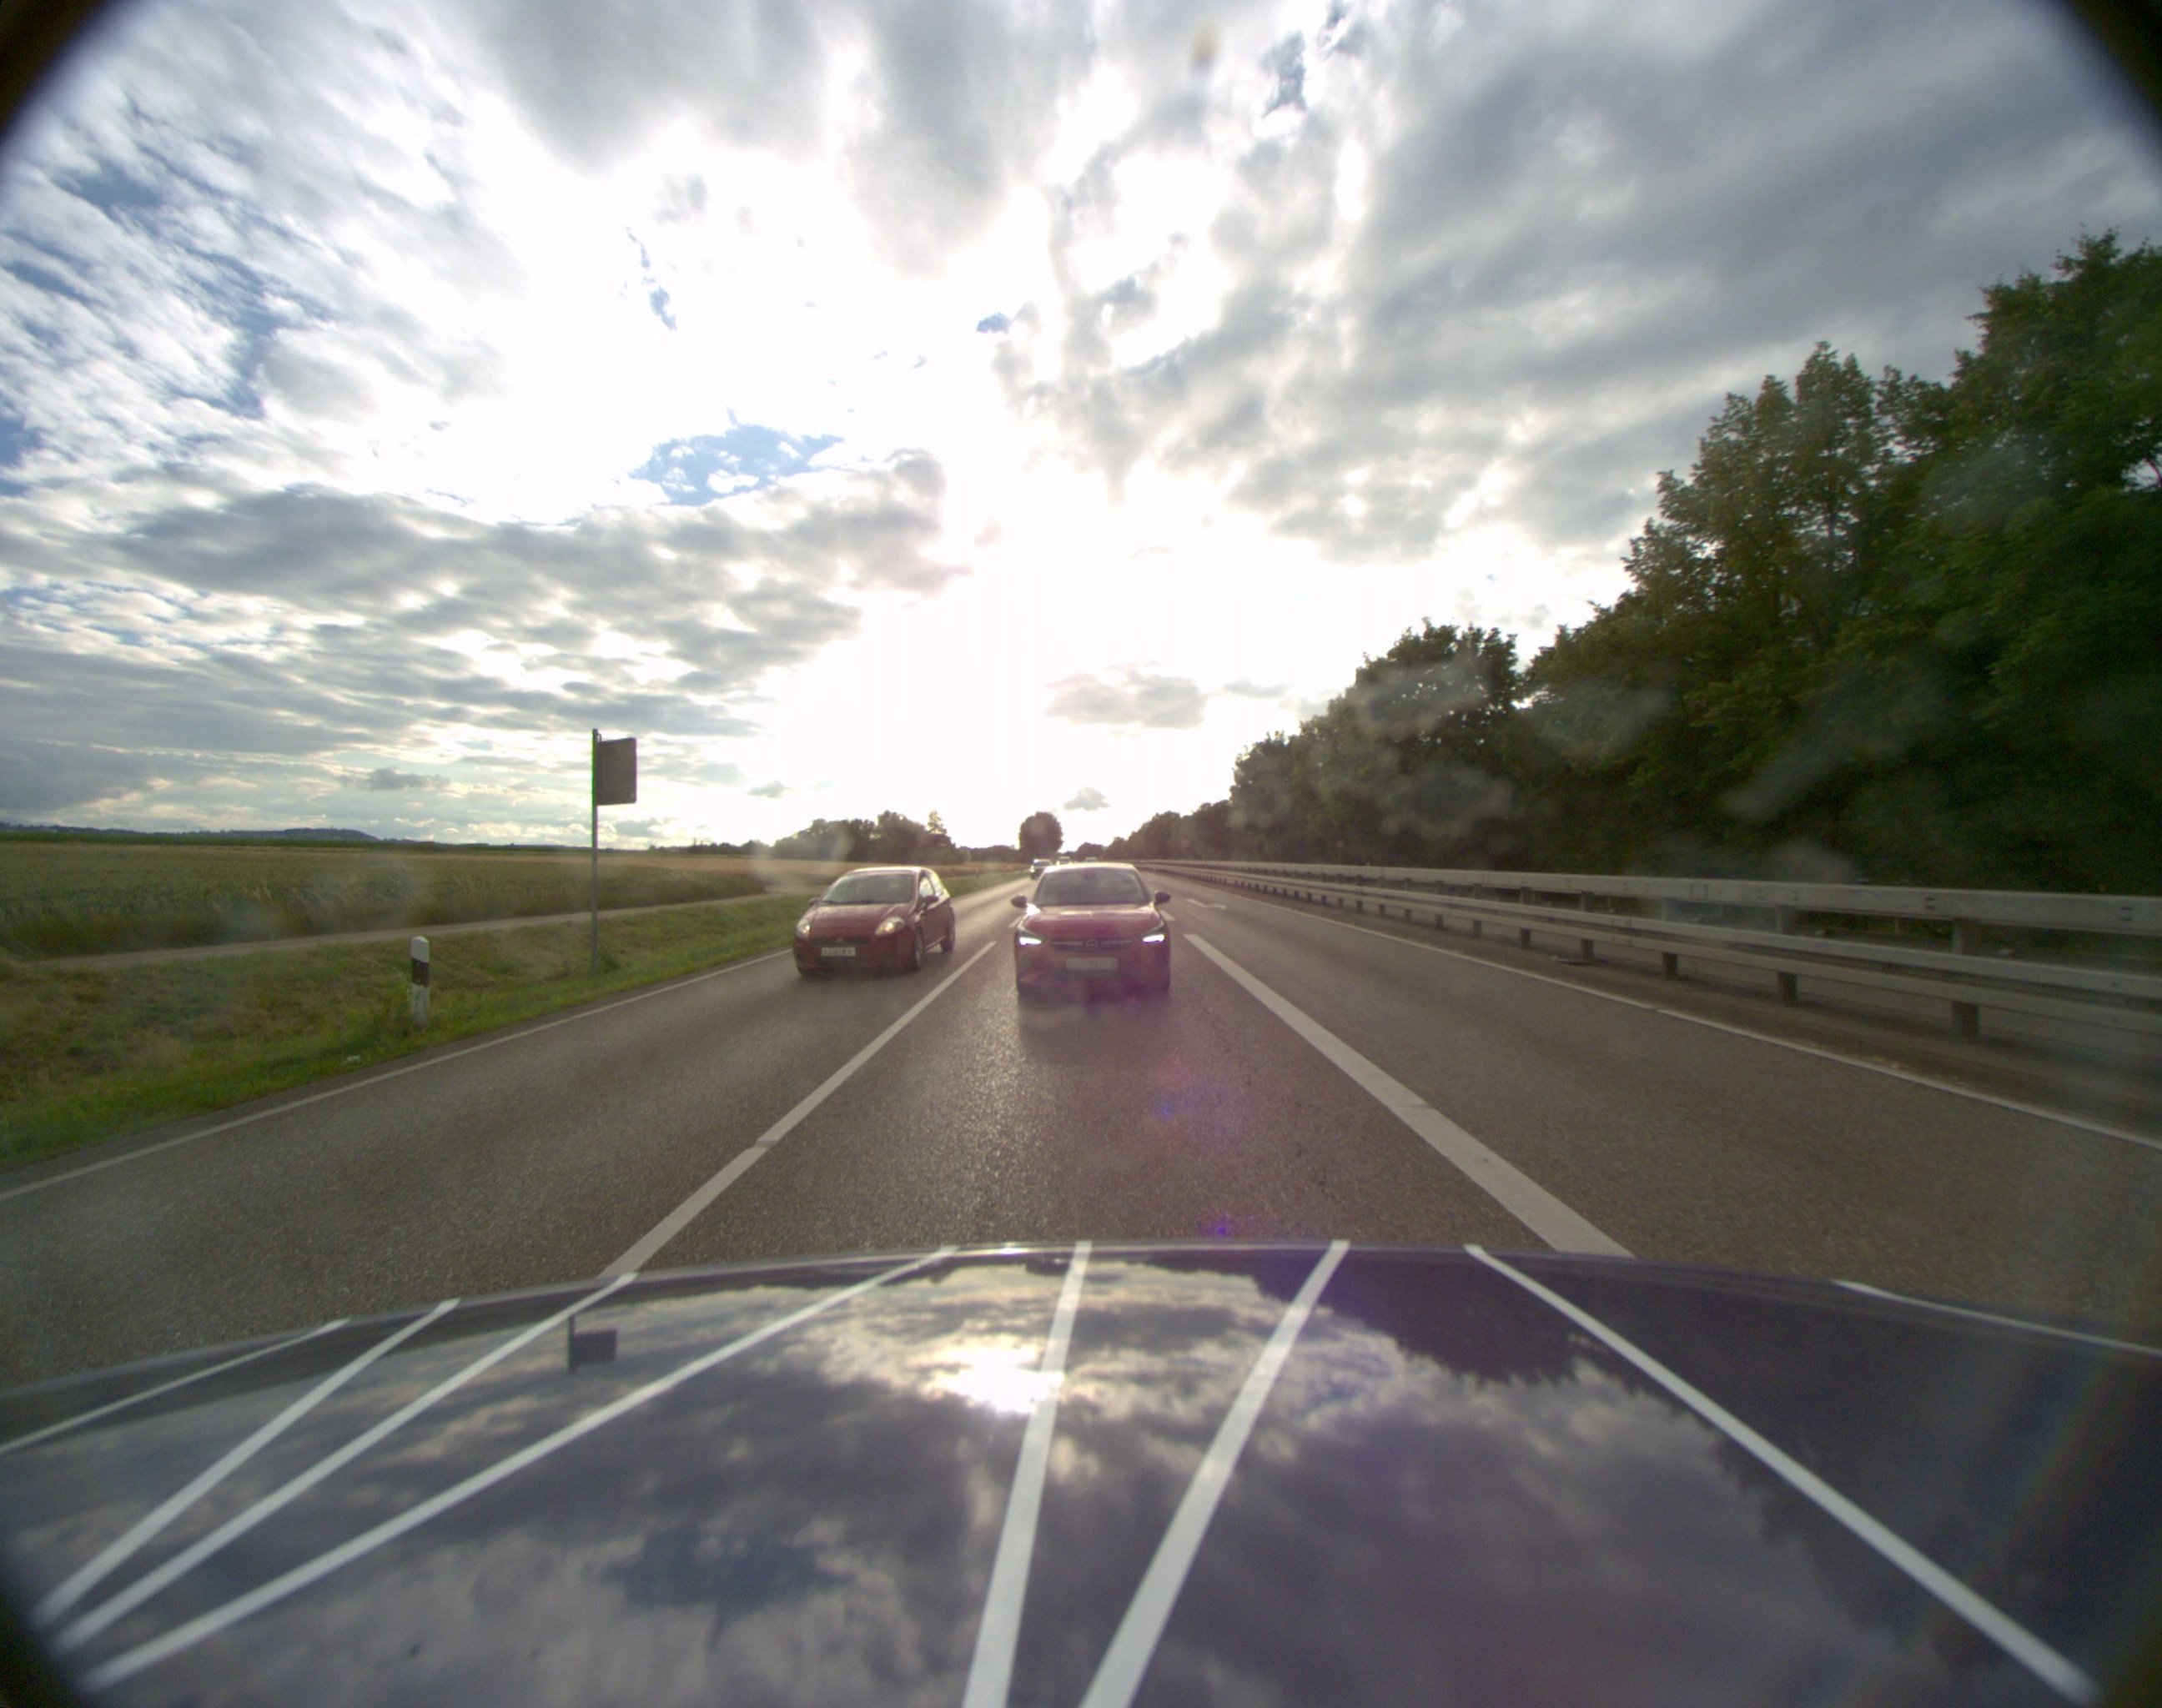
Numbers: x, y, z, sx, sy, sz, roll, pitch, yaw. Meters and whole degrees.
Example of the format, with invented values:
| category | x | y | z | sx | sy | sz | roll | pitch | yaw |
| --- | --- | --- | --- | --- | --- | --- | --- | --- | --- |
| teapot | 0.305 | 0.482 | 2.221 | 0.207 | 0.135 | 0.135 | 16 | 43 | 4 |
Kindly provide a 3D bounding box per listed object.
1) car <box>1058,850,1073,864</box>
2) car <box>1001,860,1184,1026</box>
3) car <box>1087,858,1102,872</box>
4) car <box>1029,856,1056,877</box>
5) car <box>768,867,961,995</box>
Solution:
| category | x | y | z | sx | sy | sz | roll | pitch | yaw |
| --- | --- | --- | --- | --- | --- | --- | --- | --- | --- |
| car | -1.982 | 0.335 | 99.129 | 1.671 | 1.730 | 4.032 | -2 | 1 | 1 |
| car | 0.139 | 0.878 | 9.355 | 1.712 | 1.448 | 4.061 | -2 | 1 | 1 |
| car | 1.572 | 1.296 | 90.496 | 1.712 | 1.448 | 4.061 | -2 | 1 | 1 |
| car | -2.969 | 0.958 | 59.529 | 1.799 | 1.448 | 4.032 | -2 | 1 | 1 |
| car | -3.062 | 1.018 | 11.622 | 1.712 | 1.448 | 3.908 | -2 | 1 | 1 |
